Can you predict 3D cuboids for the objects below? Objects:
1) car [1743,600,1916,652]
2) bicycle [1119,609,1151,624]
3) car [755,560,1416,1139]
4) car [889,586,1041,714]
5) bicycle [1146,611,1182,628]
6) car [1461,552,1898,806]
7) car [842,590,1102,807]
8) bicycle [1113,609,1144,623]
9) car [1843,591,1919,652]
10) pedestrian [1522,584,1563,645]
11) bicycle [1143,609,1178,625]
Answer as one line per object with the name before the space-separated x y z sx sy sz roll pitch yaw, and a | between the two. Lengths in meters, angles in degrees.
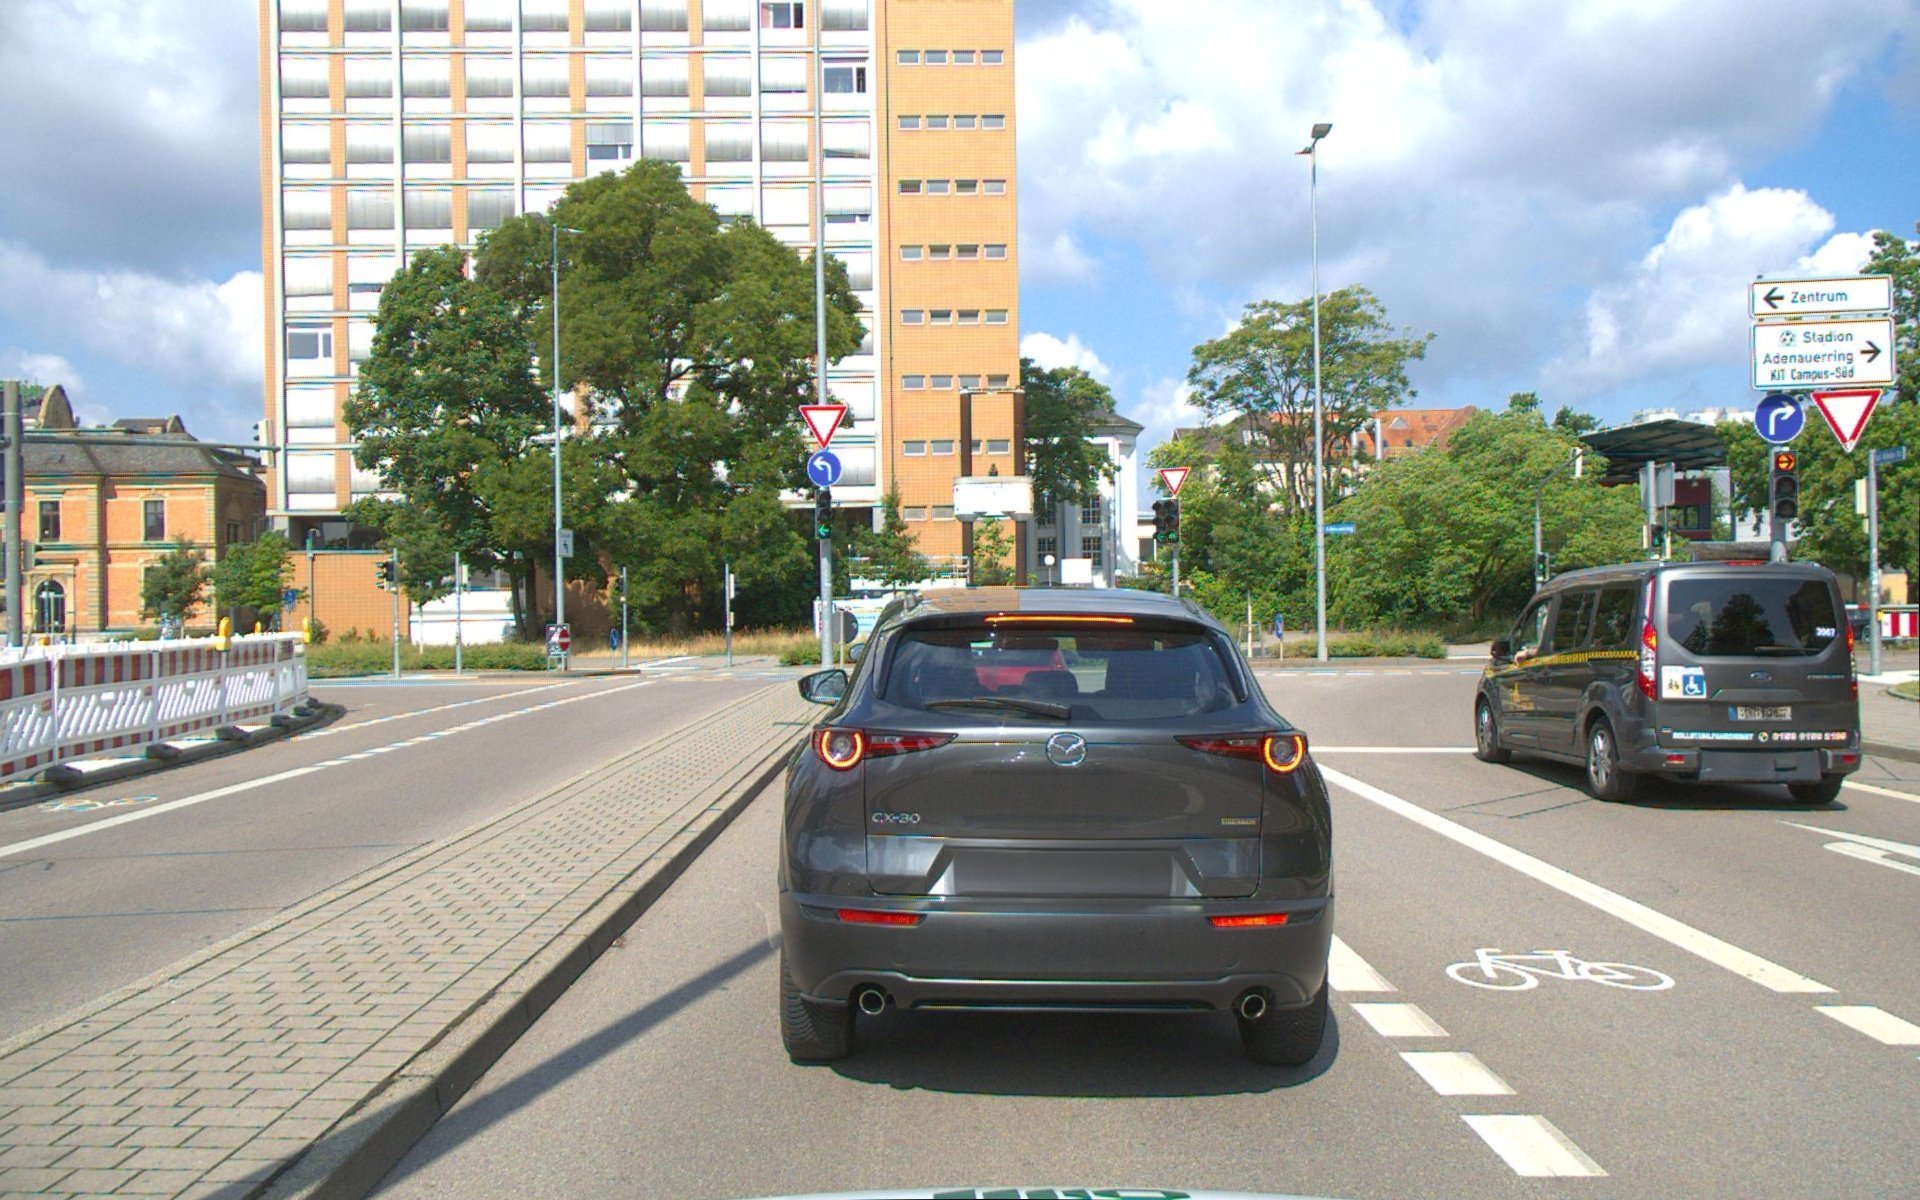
car | 25.645 0.760 48.879 4.061 1.401 2.000 -1 0 1
bicycle | 11.727 1.091 110.705 2.013 0.953 0.804 -1 -1 -2
car | 0.316 0.682 6.604 1.769 1.534 4.204 1 0 -1
car | 0.080 0.616 22.220 1.810 1.498 4.335 -1 0 0
bicycle | 12.121 1.143 98.518 2.013 0.953 0.804 -1 -1 -2
car | 5.855 0.564 14.171 1.810 1.816 4.672 0 0 1
car | 0.115 0.670 13.495 1.779 1.464 4.068 1 0 1
bicycle | 11.772 1.111 115.565 2.013 0.953 0.804 -1 -1 -2
car | 25.184 0.513 41.707 4.664 1.467 2.063 -1 -3 4
pedestrian | 18.527 0.460 52.631 0.684 1.889 1.177 -1 0 -11
bicycle | 12.414 1.066 102.517 2.013 0.953 0.804 -1 -1 -2
